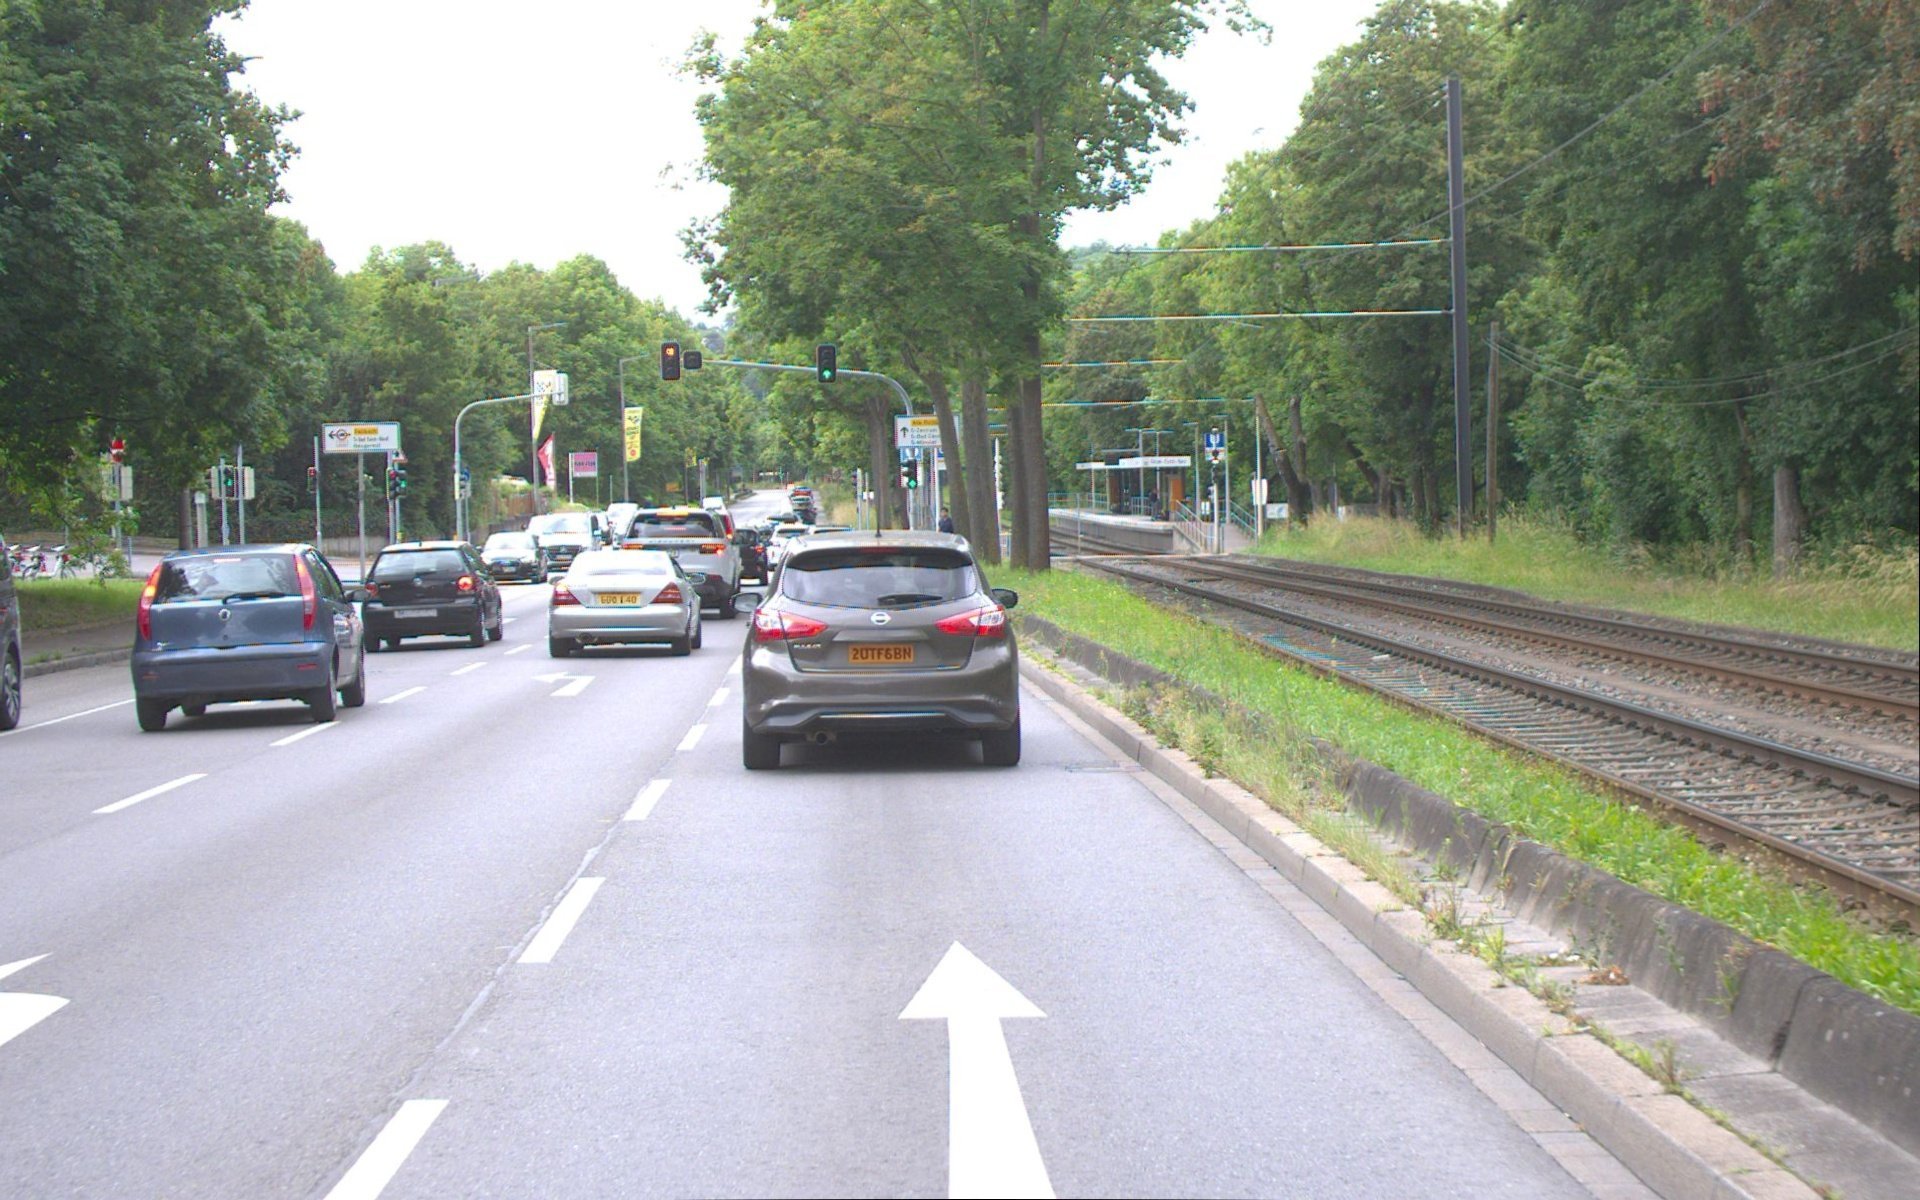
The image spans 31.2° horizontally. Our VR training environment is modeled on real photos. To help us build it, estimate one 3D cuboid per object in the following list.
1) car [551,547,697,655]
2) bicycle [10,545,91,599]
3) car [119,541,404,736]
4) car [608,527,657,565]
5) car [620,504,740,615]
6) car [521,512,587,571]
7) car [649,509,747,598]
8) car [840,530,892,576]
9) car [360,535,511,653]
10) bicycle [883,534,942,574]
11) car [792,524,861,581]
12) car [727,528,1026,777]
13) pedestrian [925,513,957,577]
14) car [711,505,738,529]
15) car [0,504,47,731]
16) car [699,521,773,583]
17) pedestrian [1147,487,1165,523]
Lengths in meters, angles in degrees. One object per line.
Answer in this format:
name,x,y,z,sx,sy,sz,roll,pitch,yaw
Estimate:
car,-4.124,-0.012,42.573,1.555,1.262,3.823,-1,1,-2
bicycle,-21.353,-0.654,80.723,0.545,1.248,1.931,1,1,35
car,-5.864,0.273,29.269,1.591,1.463,3.929,-2,1,0
car,-13.278,-2.204,139.586,1.739,1.533,3.910,0,1,-2
car,-4.694,-0.687,58.215,1.803,1.789,4.504,0,1,-2
car,-13.253,-1.919,112.427,1.791,1.825,4.410,-2,1,-3
car,-5.677,-1.033,75.055,1.907,1.837,5.282,-1,1,-2
car,-3.236,-1.618,117.859,1.503,1.523,3.672,0,1,-6
car,-7.164,-0.120,47.211,1.556,1.461,3.808,-3,1,-2
bicycle,-1.452,-1.392,104.081,1.674,1.086,0.602,-4,1,-6
car,-3.479,-1.263,90.111,1.710,1.470,3.671,0,1,0
car,-0.527,0.283,23.109,1.837,1.523,3.929,0,1,0
pedestrian,-0.534,-1.540,95.864,0.752,1.731,0.839,-3,1,3
car,-16.939,-5.978,246.973,1.901,1.673,5.081,-1,1,-4
car,-8.910,0.198,28.030,1.803,1.897,4.690,-3,1,-3
car,-5.497,-1.192,84.815,1.703,1.475,3.668,-1,1,-2
pedestrian,8.374,-4.067,146.794,0.718,1.506,0.724,1,1,1
